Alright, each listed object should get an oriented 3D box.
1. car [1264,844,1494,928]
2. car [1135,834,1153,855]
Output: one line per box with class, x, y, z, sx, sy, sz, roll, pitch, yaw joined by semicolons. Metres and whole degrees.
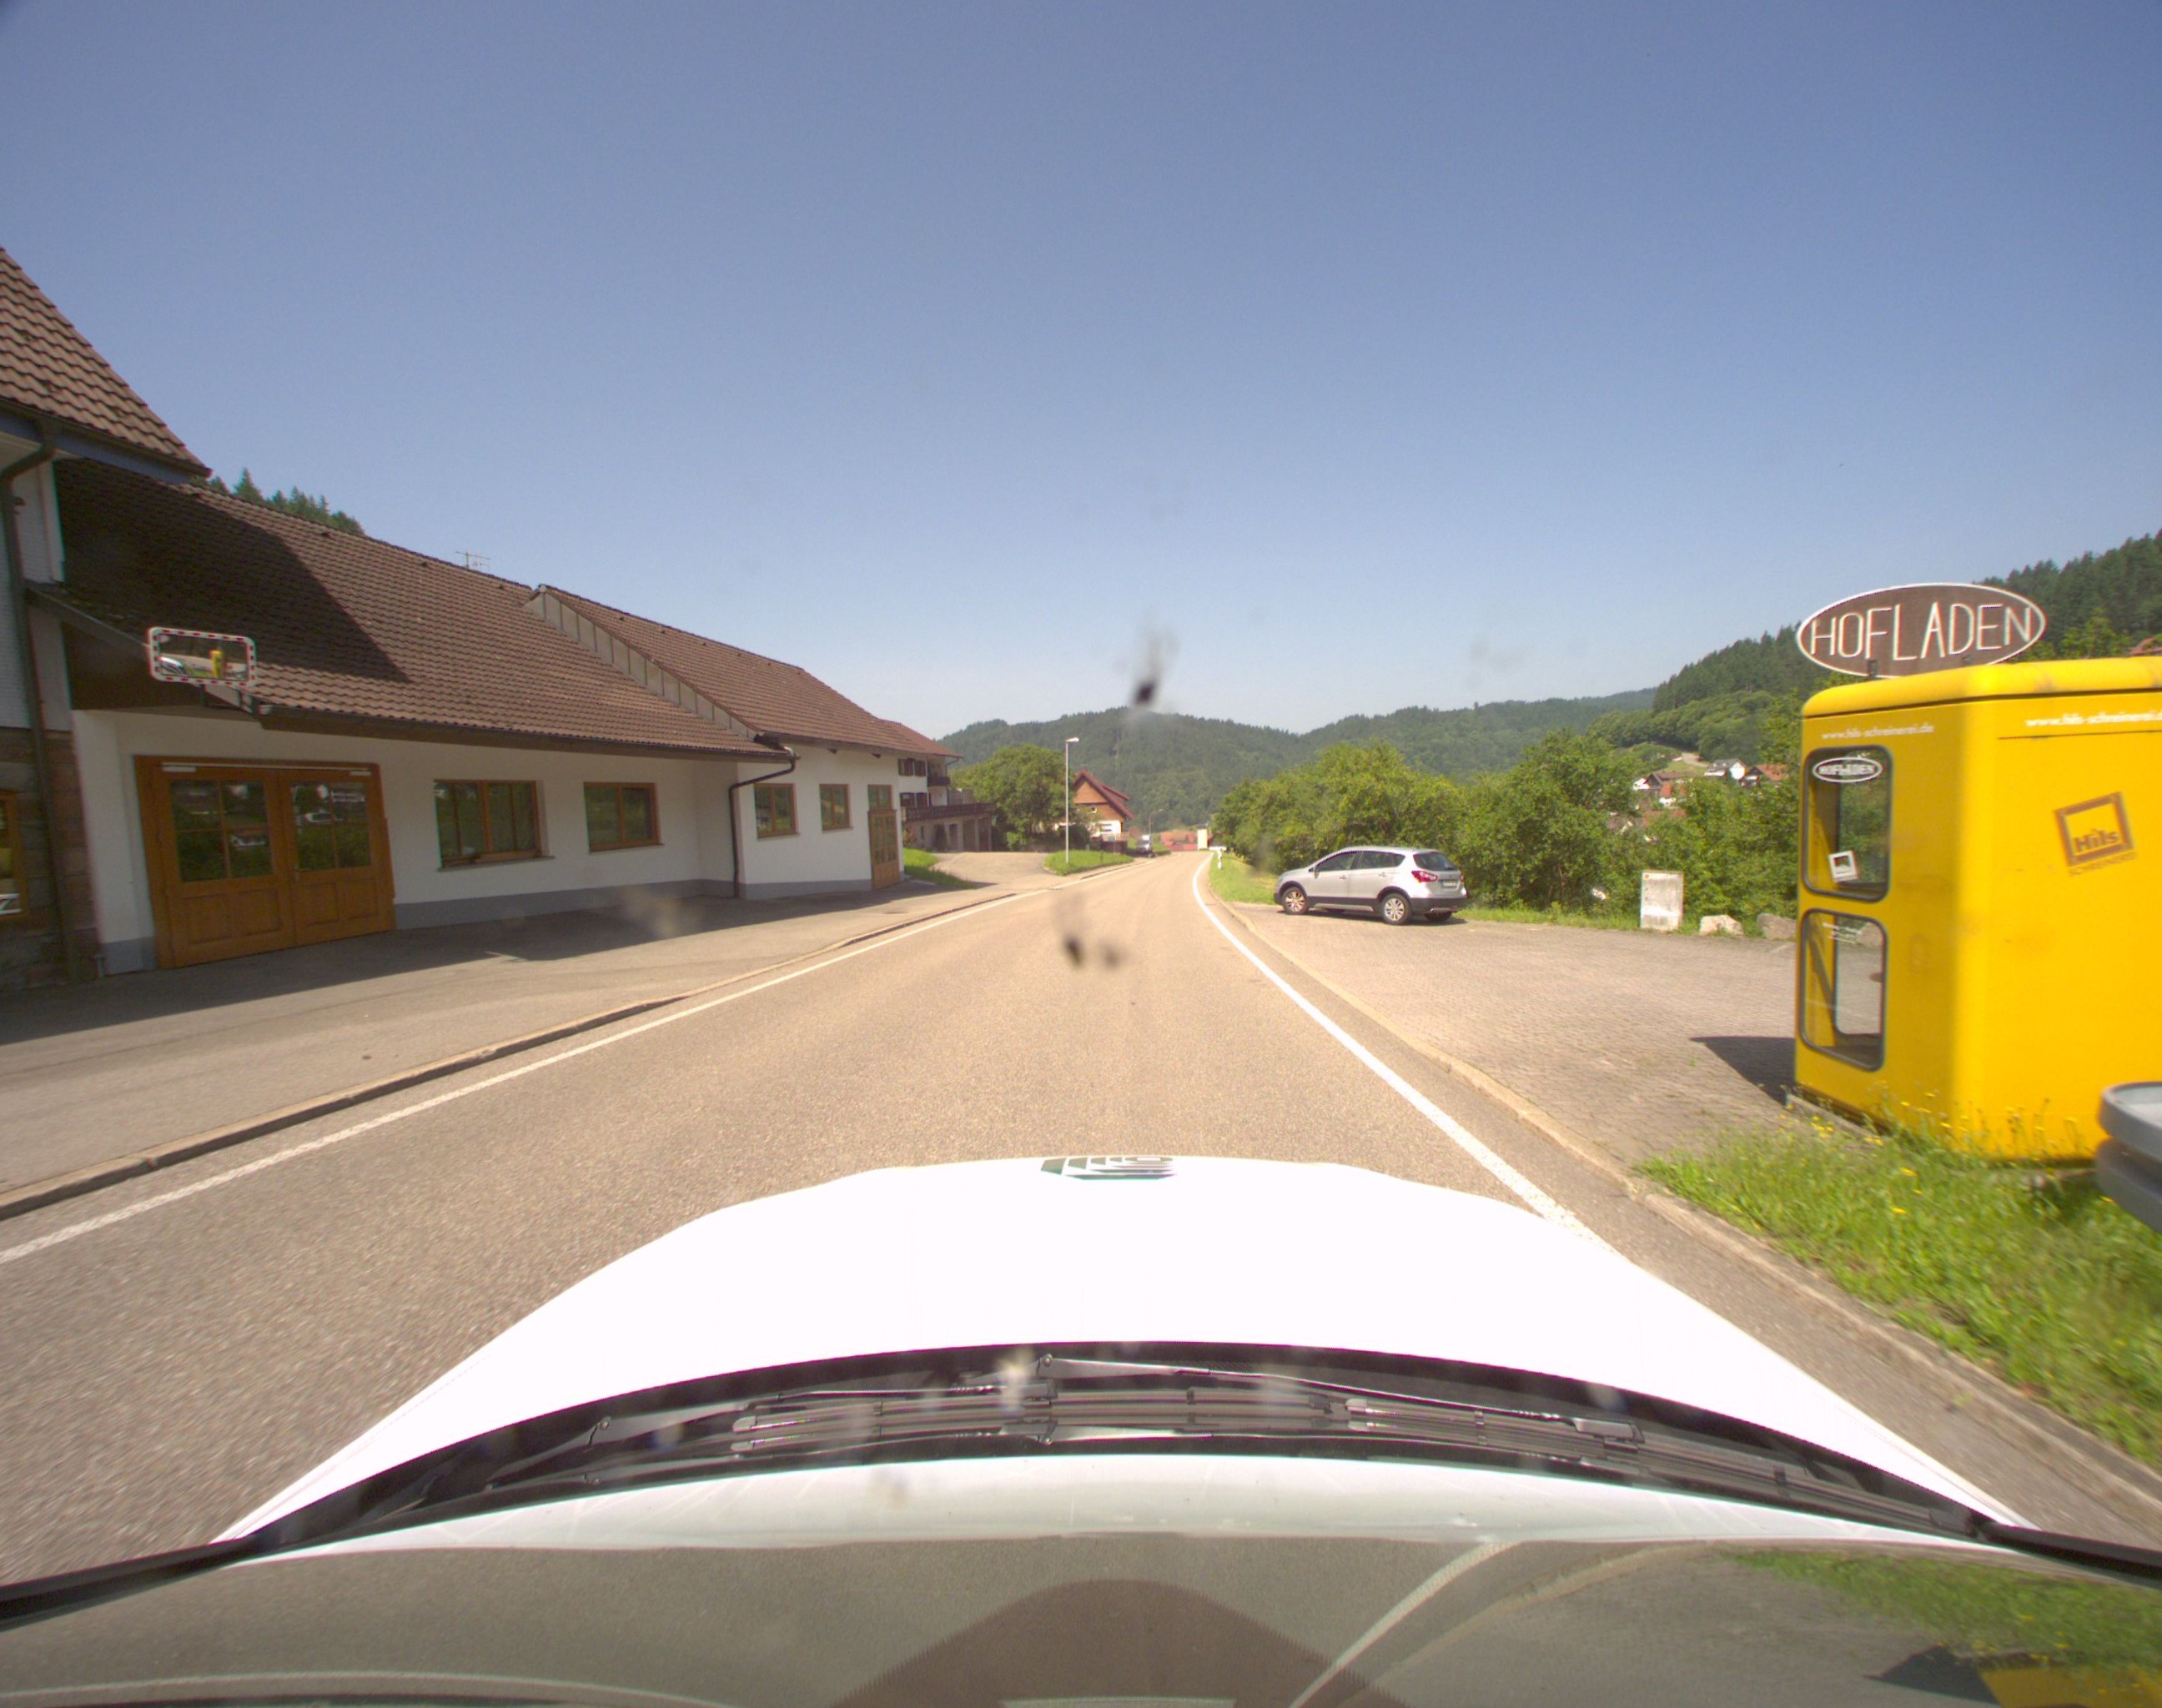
car;6.322;0.575;17.742;1.914;1.570;4.414;-1;1;-36
car;9.247;-1.460;119.453;2.055;2.688;7.194;-2;3;9
